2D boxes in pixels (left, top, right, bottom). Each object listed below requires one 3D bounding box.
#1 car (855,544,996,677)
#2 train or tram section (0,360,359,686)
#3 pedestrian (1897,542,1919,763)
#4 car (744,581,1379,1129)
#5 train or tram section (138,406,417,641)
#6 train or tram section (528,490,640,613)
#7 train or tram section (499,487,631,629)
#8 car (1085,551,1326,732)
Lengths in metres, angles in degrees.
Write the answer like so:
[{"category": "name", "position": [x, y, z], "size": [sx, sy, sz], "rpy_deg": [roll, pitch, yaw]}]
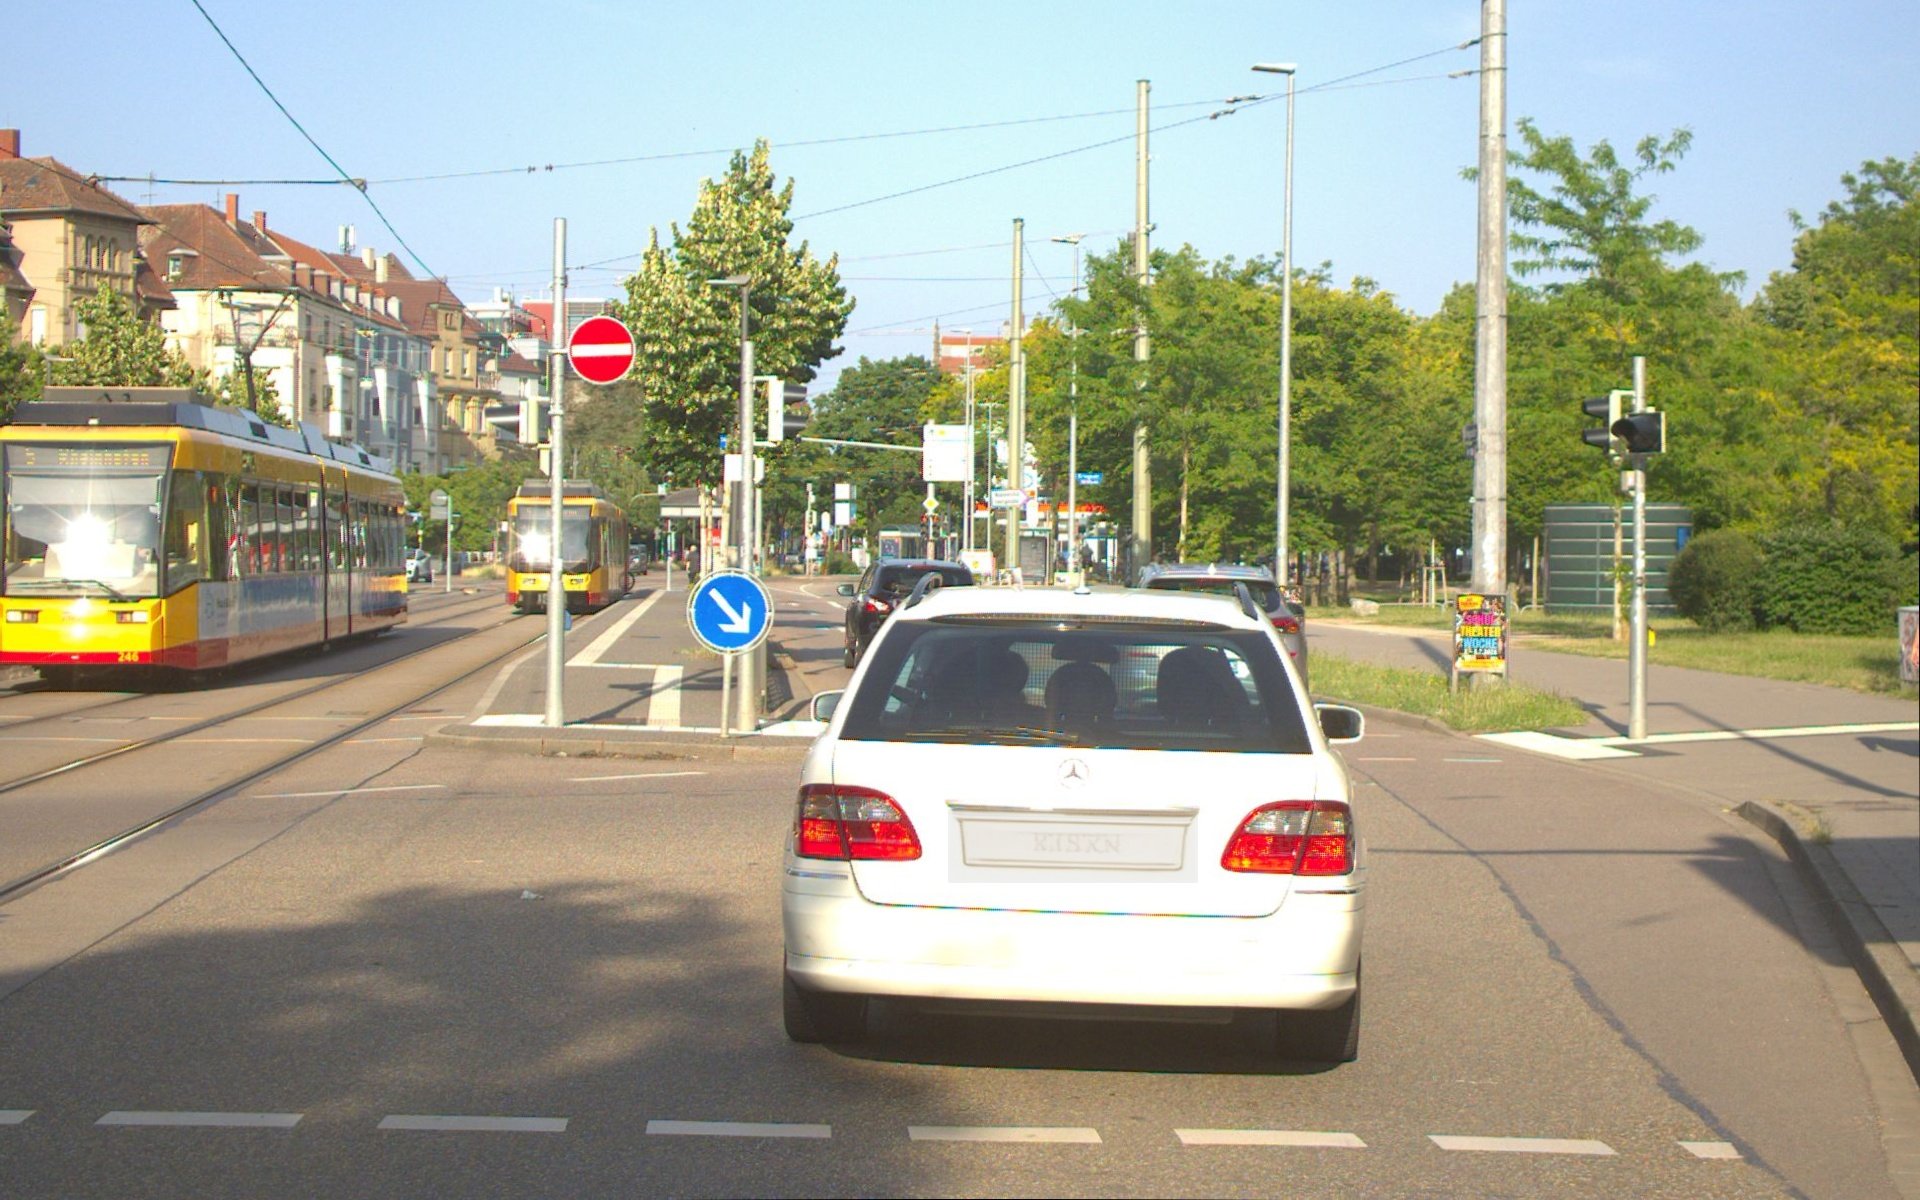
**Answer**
[{"category": "car", "position": [-0.445, 0.104, 46.815], "size": [1.787, 1.684, 4.000], "rpy_deg": [1, 1, 0]}, {"category": "train or tram section", "position": [-10.011, -0.991, 44.511], "size": [3.161, 3.467, 14.536], "rpy_deg": [1, 1, -5]}, {"category": "pedestrian", "position": [7.639, 0.389, 26.415], "size": [0.615, 1.686, 0.548], "rpy_deg": [-4, 1, 0]}, {"category": "car", "position": [0.214, 0.699, 11.549], "size": [1.758, 1.498, 4.000], "rpy_deg": [0, 1, -2]}, {"category": "train or tram section", "position": [-11.405, -1.298, 58.962], "size": [3.161, 3.467, 14.475], "rpy_deg": [1, 1, -5]}, {"category": "train or tram section", "position": [-11.474, -1.532, 105.960], "size": [2.849, 3.467, 13.202], "rpy_deg": [1, 1, -4]}, {"category": "train or tram section", "position": [-10.558, -1.209, 93.014], "size": [2.849, 3.467, 13.202], "rpy_deg": [2, 1, -4]}, {"category": "car", "position": [2.341, 0.352, 33.713], "size": [2.033, 1.600, 4.000], "rpy_deg": [1, 1, 0]}]
